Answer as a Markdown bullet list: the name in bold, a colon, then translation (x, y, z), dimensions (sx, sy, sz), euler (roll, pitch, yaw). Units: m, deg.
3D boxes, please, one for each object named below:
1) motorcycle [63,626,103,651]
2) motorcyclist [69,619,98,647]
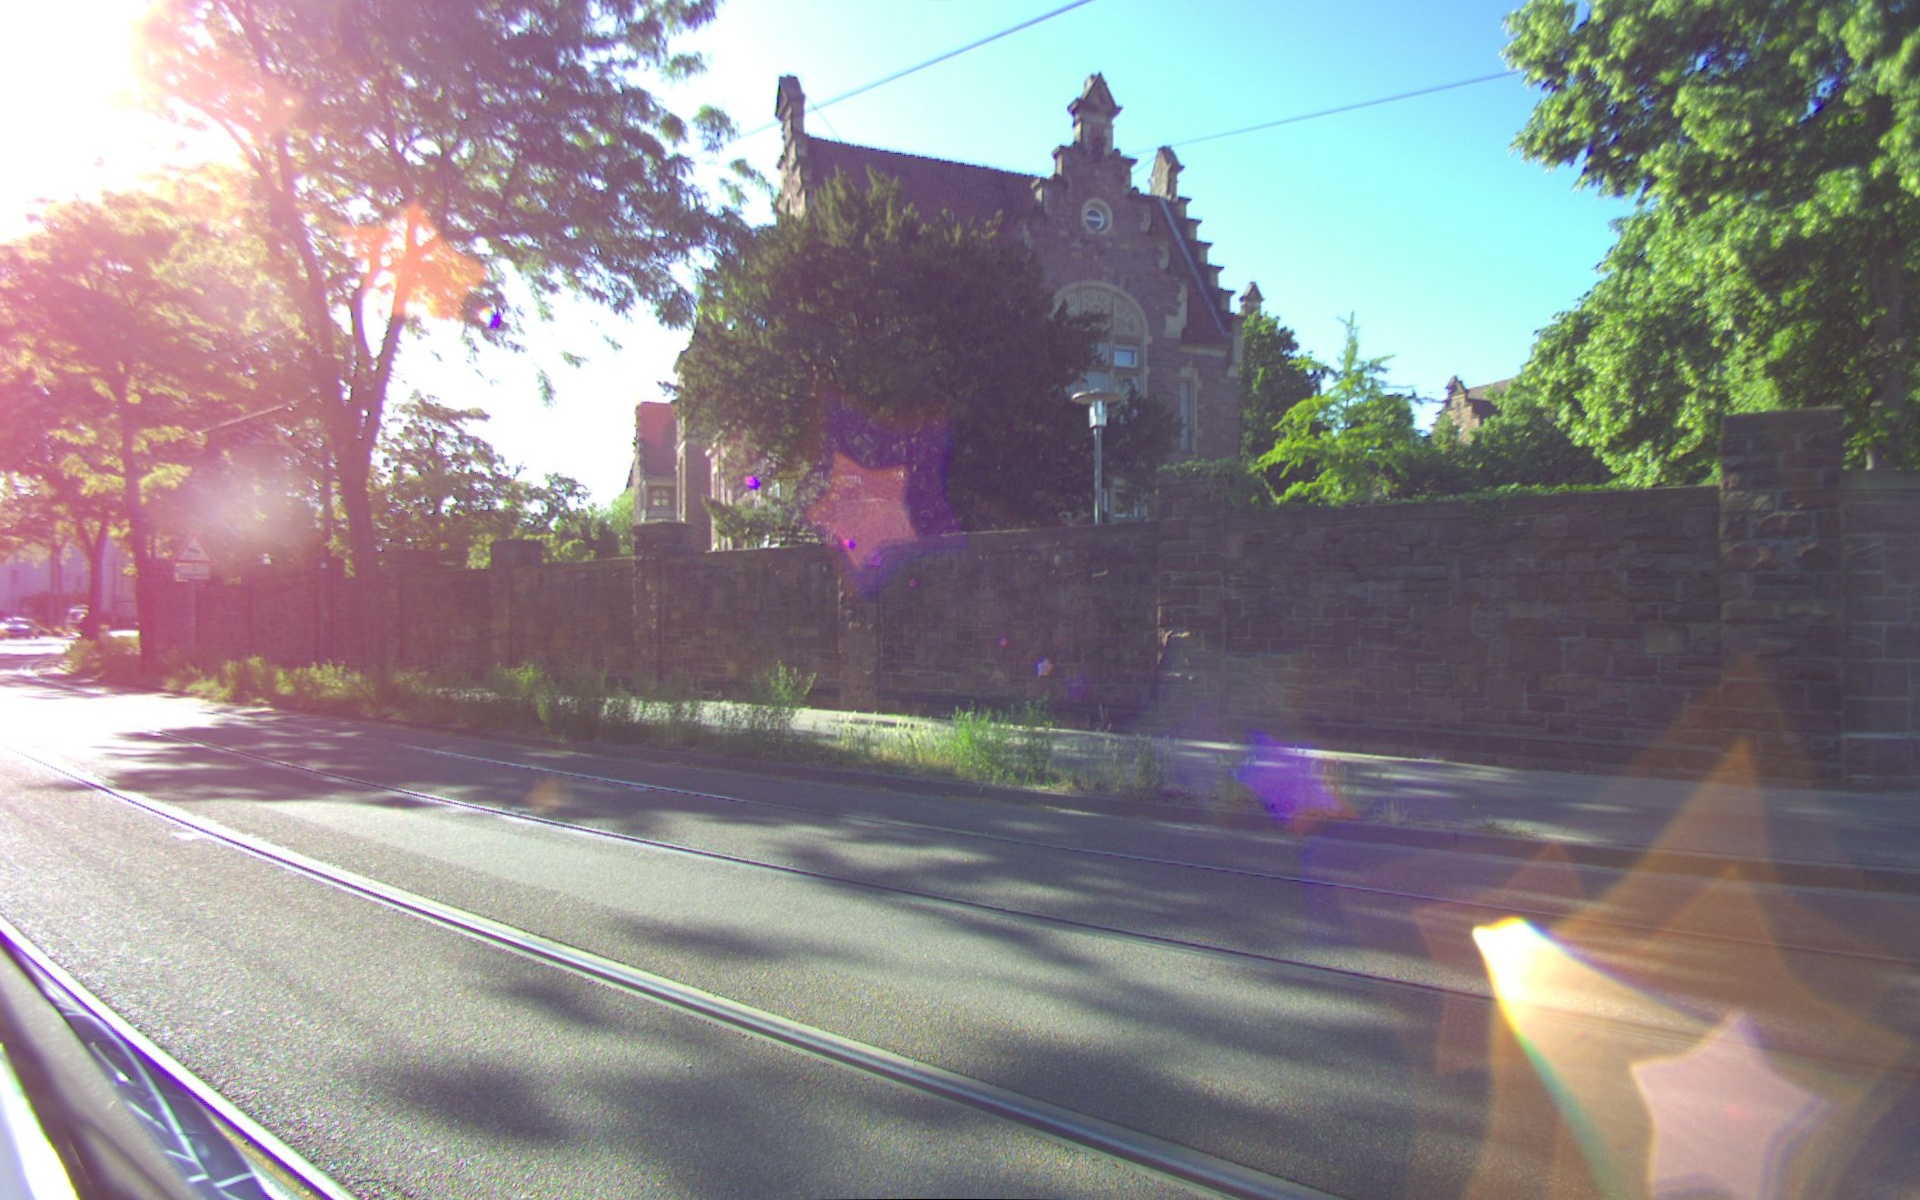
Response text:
- **motorcycle**: translation (-44.292, 1.929, 51.156), dimensions (0.898, 1.162, 2.437), euler (0, -1, -26)
- **motorcyclist**: translation (-44.307, 1.679, 51.175), dimensions (0.876, 1.393, 0.911), euler (0, -1, -26)
